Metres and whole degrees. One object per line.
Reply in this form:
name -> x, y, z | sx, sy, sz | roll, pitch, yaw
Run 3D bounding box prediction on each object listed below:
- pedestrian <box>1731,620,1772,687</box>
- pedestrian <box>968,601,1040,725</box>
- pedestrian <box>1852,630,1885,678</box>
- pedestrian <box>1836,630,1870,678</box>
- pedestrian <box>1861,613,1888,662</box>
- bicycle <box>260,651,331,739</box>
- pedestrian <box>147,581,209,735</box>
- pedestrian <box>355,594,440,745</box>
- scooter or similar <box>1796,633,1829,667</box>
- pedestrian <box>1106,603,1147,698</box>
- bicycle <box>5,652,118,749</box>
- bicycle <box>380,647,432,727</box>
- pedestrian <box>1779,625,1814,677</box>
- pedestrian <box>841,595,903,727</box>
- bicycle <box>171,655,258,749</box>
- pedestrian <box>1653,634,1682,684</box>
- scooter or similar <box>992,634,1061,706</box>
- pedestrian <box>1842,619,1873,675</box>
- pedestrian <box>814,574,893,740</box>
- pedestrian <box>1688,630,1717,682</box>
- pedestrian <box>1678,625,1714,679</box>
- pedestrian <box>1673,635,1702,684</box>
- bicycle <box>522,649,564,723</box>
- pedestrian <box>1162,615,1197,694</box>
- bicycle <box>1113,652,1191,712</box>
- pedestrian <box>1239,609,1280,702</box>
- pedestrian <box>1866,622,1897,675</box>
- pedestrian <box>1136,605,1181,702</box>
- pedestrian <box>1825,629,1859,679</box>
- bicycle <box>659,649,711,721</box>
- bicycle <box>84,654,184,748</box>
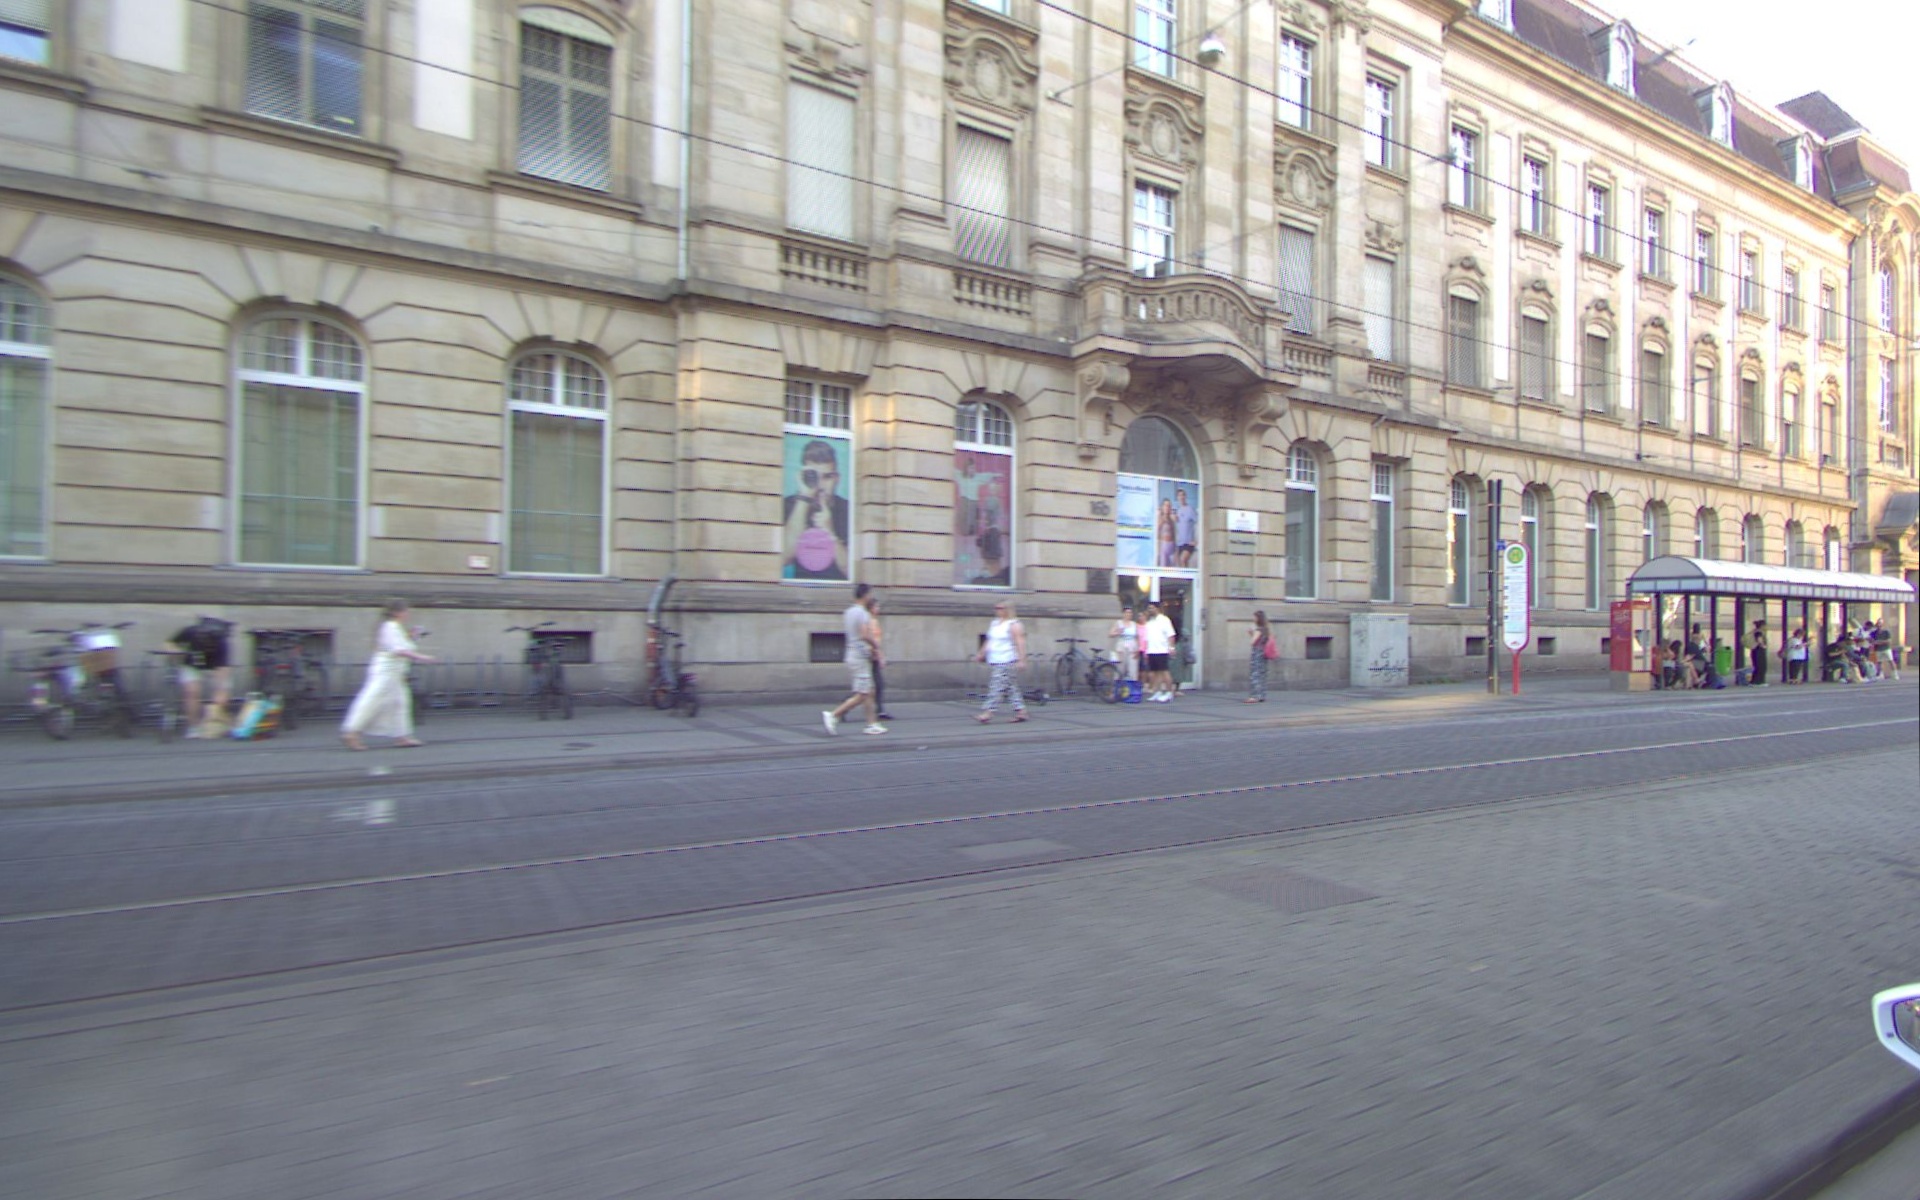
pedestrian -> 20.108, 1.340, 25.519 | 0.626, 1.672, 0.519 | 1, -1, -8
pedestrian -> 0.581, 0.810, 13.328 | 0.674, 1.582, 0.654 | 1, -1, -40
pedestrian -> 25.921, 1.540, 28.662 | 0.630, 1.345, 0.516 | 2, -1, -27
pedestrian -> 25.147, 1.515, 28.283 | 0.630, 1.345, 0.516 | 2, -1, -27
pedestrian -> 34.060, 1.386, 37.408 | 0.699, 1.800, 0.617 | 1, -1, -34
bicycle -> -7.790, 1.089, 11.820 | 0.445, 0.885, 1.571 | 2, 0, -25
pedestrian -> -8.586, 0.631, 11.038 | 0.424, 1.655, 0.363 | 2, 0, -24
pedestrian -> -5.754, 0.695, 10.308 | 0.546, 1.486, 0.693 | 1, -1, -11
scooter or similar -> 30.774, 1.813, 36.259 | 1.277, 1.197, 0.484 | 2, 0, -29
pedestrian -> 2.969, 0.900, 17.905 | 0.597, 1.664, 0.334 | 2, 0, -23
bicycle -> -9.676, 1.048, 10.866 | 0.445, 0.885, 1.571 | 2, 0, -25
bicycle -> -7.059, 1.080, 12.841 | 0.445, 0.885, 1.571 | 2, 0, -25
pedestrian -> 22.218, 1.356, 26.687 | 0.630, 1.345, 0.516 | 2, -1, -27
pedestrian -> -1.197, 0.816, 13.649 | 0.800, 1.734, 0.694 | 1, -1, -6
bicycle -> -8.270, 1.102, 11.183 | 0.445, 0.885, 1.571 | 2, 0, -25
pedestrian -> 16.346, 1.362, 23.203 | 0.424, 1.117, 0.363 | 2, 0, -24
scooter or similar -> 1.088, 1.144, 16.748 | 0.445, 1.082, 1.542 | 2, 0, -25
pedestrian -> 27.420, 1.437, 30.700 | 0.630, 1.667, 0.516 | 2, -1, -27
pedestrian -> -1.234, 0.641, 11.585 | 0.801, 1.837, 0.692 | 1, -1, -14
pedestrian -> 17.616, 1.333, 23.833 | 0.424, 1.216, 0.363 | 2, 0, -24
pedestrian -> 22.739, 1.599, 31.021 | 0.624, 1.636, 0.695 | 1, 0, -32
pedestrian -> 16.919, 1.379, 23.365 | 0.424, 1.117, 0.363 | 2, 0, -24
bicycle -> -5.703, 1.144, 13.701 | 0.445, 0.885, 1.571 | 2, 0, -25
pedestrian -> 4.125, 1.014, 18.864 | 0.560, 1.459, 0.441 | 2, 0, 6
bicycle -> 3.206, 1.350, 16.875 | 0.445, 0.885, 1.571 | 2, 0, -25
pedestrian -> 5.371, 0.990, 18.029 | 0.433, 1.627, 0.570 | 2, 0, -15
pedestrian -> 28.212, 1.478, 30.761 | 0.630, 1.590, 0.516 | 2, -1, -27
pedestrian -> 3.496, 0.935, 17.699 | 0.555, 1.664, 0.475 | 2, 0, -24
pedestrian -> 24.498, 1.494, 27.892 | 0.630, 1.345, 0.516 | 2, -1, -27
bicycle -> -3.948, 1.190, 14.355 | 0.445, 0.885, 1.571 | 2, 0, -25
bicycle -> -9.084, 1.077, 11.095 | 0.445, 0.885, 1.571 | 2, 0, -25
